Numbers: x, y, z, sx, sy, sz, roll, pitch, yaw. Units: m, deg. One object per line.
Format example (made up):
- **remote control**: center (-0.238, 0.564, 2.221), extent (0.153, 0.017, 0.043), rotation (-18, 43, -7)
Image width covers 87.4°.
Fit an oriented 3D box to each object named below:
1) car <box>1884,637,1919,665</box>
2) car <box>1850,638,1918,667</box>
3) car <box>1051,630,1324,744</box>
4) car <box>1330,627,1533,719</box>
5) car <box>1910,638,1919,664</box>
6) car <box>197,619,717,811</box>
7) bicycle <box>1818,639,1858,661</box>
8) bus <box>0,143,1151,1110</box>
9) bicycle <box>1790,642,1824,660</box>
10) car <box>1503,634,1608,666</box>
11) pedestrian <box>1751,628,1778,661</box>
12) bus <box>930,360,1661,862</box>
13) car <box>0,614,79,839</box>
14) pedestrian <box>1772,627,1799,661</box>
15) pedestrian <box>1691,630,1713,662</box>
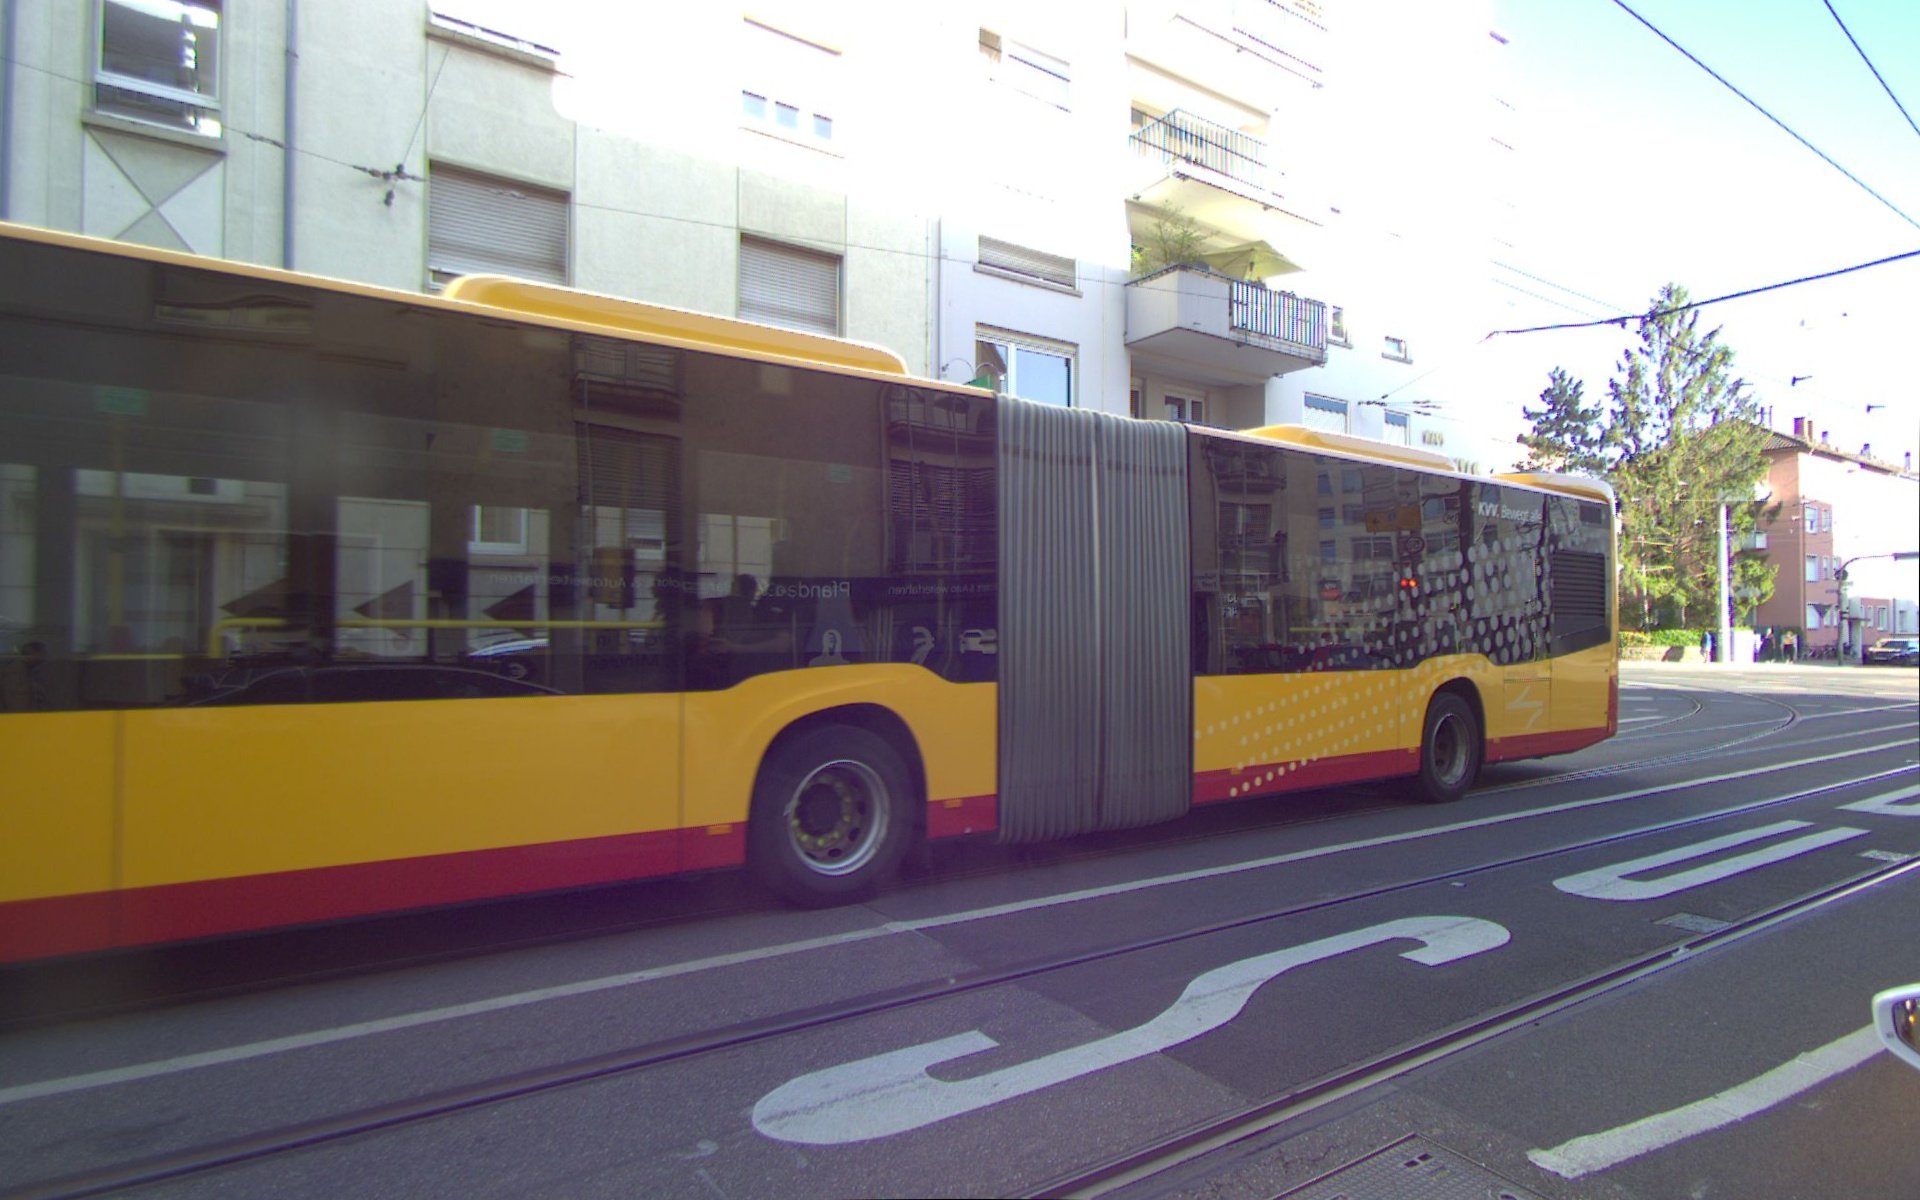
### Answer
- **car**: center (54.254, 2.849, 56.944), extent (3.959, 1.517, 1.899), rotation (1, -2, -34)
- **car**: center (49.517, 2.782, 53.818), extent (3.961, 1.452, 1.898), rotation (1, -2, -36)
- **car**: center (3.645, 1.291, 15.835), extent (4.266, 1.529, 1.689), rotation (2, -1, -33)
- **car**: center (8.993, 1.327, 19.075), extent (3.959, 1.529, 1.733), rotation (2, -1, -35)
- **car**: center (58.082, 2.993, 59.457), extent (3.959, 1.517, 1.899), rotation (1, -2, -34)
- **car**: center (-4.839, 1.016, 10.095), extent (4.340, 1.529, 1.689), rotation (2, -1, -34)
- **bicycle**: center (51.865, 2.925, 59.317), extent (3.267, 1.241, 0.844), rotation (1, -2, -32)
- **bus**: center (-3.715, 0.116, 4.595), extent (10.089, 3.200, 2.706), rotation (1, -2, -34)
- **bicycle**: center (47.162, 2.804, 55.914), extent (2.568, 0.964, 0.729), rotation (1, -2, -32)
- **car**: center (30.671, 2.530, 51.830), extent (1.843, 1.594, 4.345), rotation (2, -2, -43)
- **pedestrian**: center (41.836, 2.300, 52.232), extent (0.728, 1.713, 0.841), rotation (1, -1, -27)
- **bus**: center (3.581, 0.168, 9.667), extent (7.500, 3.203, 2.721), rotation (1, -2, -34)
- **car**: center (-9.117, 0.895, 7.047), extent (4.202, 1.637, 1.688), rotation (2, -1, -36)
- **pedestrian**: center (42.237, 2.250, 51.385), extent (0.728, 1.713, 0.841), rotation (1, -1, -27)
- **pedestrian**: center (38.249, 2.352, 51.783), extent (0.835, 1.647, 0.515), rotation (-1, -2, 27)
